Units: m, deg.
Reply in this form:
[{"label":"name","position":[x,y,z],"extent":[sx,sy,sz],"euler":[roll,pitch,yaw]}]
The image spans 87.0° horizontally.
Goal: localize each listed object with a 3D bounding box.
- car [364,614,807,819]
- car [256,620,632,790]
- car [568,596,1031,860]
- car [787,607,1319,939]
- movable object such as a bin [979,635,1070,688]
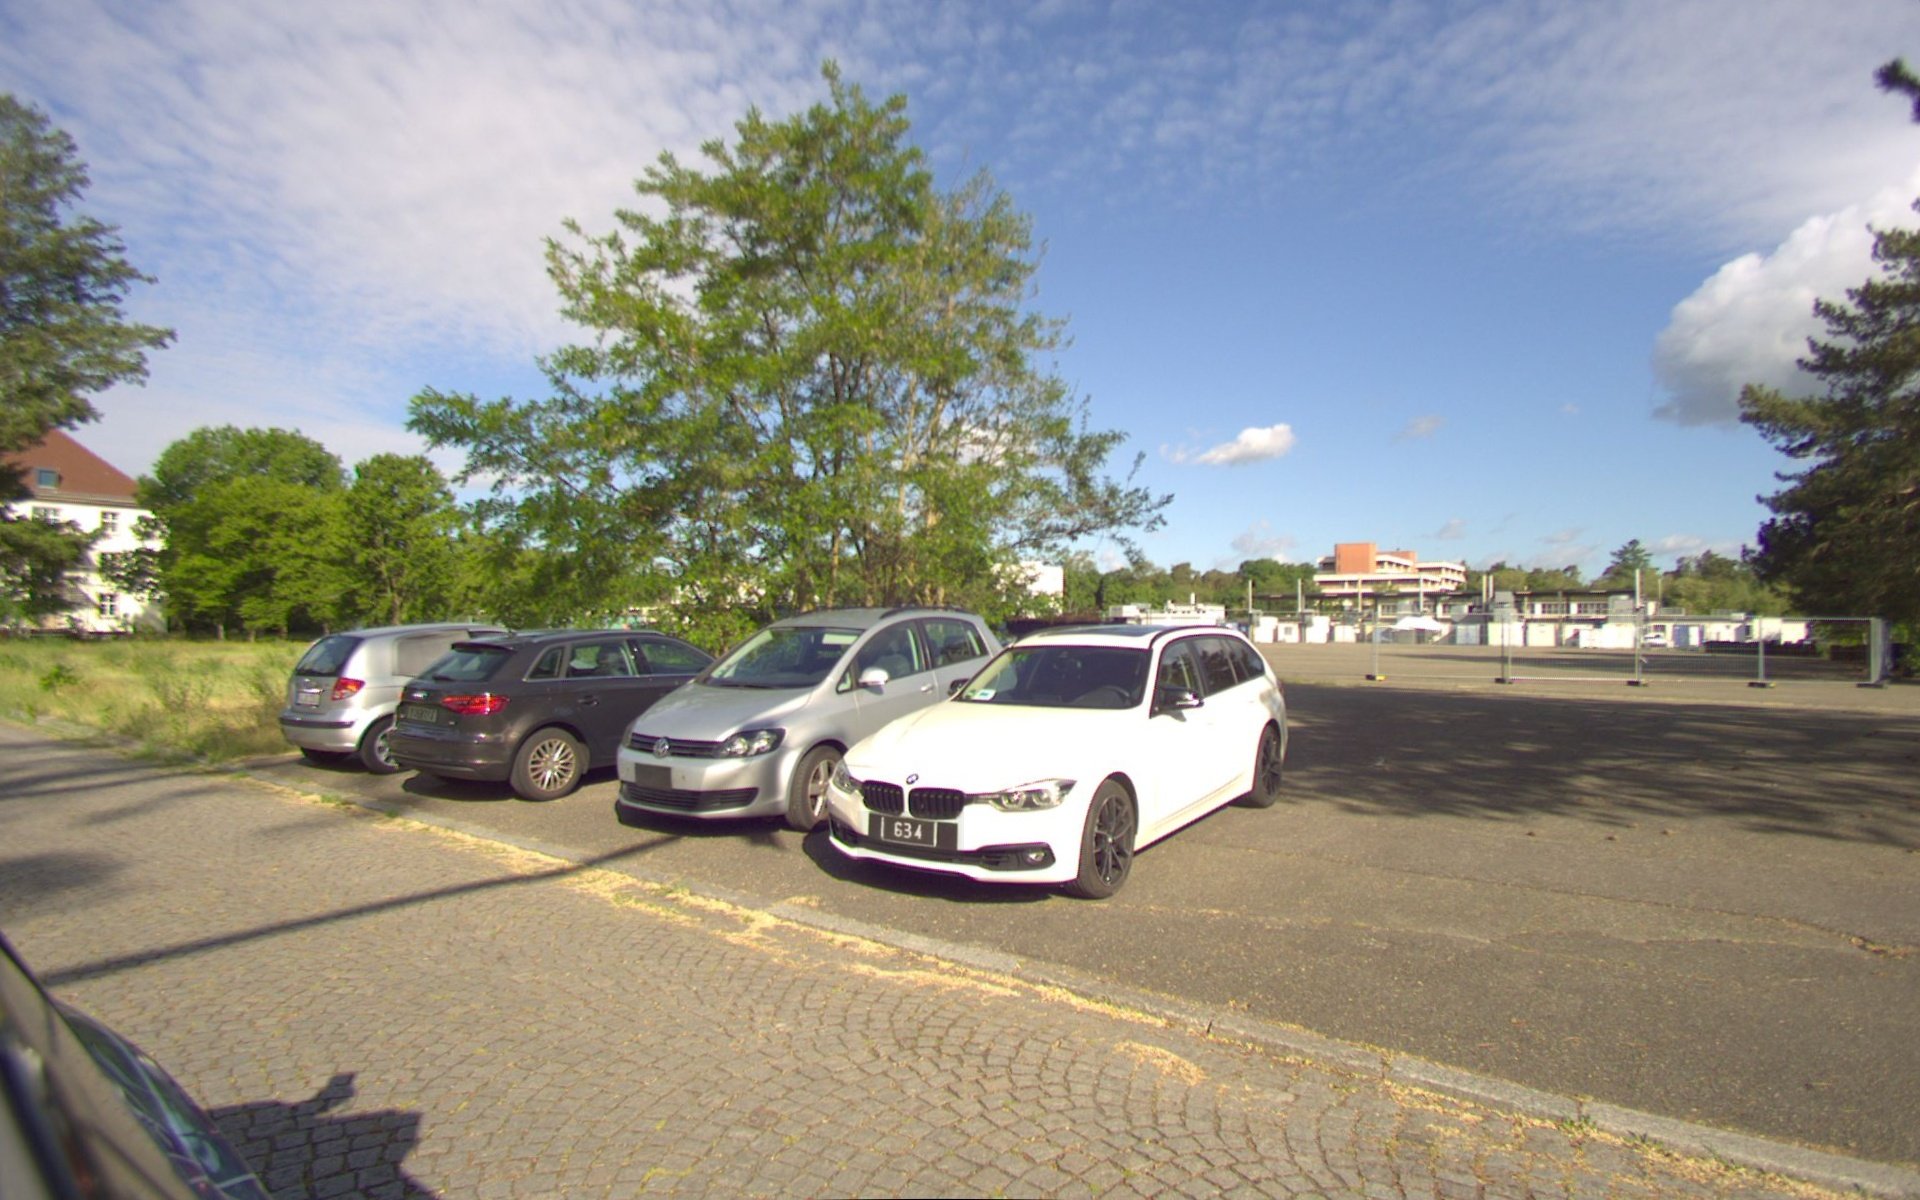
[{"label":"car","position":[-3.460,0.944,9.942],"extent":[1.685,1.482,3.762],"euler":[-1,1,37]},{"label":"car","position":[-5.689,1.036,11.502],"extent":[1.633,1.482,3.435],"euler":[-1,1,35]},{"label":"car","position":[-1.103,0.831,8.628],"extent":[1.717,1.638,3.912],"euler":[-1,0,33]},{"label":"car","position":[1.013,0.857,7.174],"extent":[1.748,1.478,4.502],"euler":[-2,0,35]},{"label":"movable object such as a bin","position":[1.474,1.331,22.587],"extent":[0.996,1.116,2.258],"euler":[-1,-2,36]}]
